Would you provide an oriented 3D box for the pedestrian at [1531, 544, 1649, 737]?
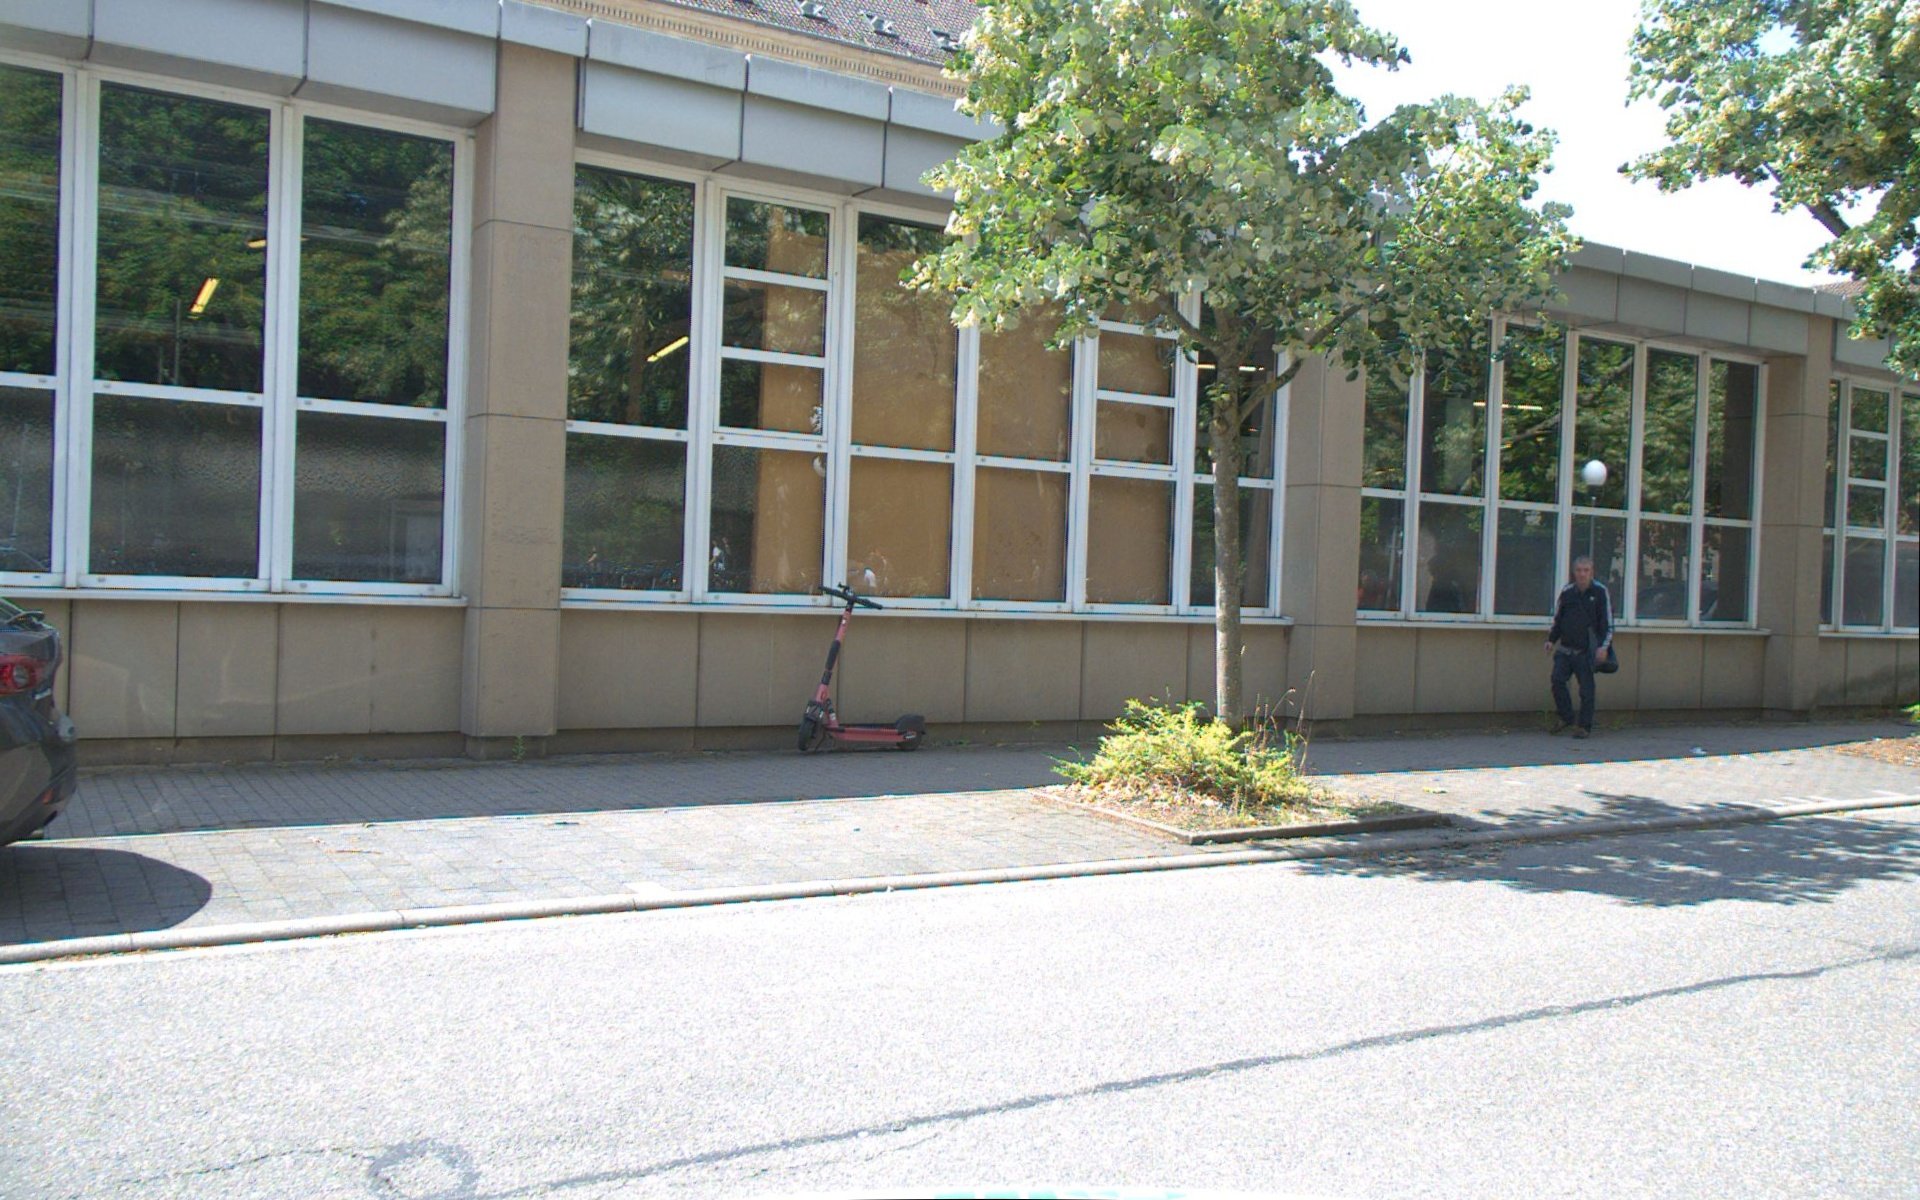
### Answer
[{"bbox_3d":[6.201,0.378,16.307,0.661,1.818,0.783,0,3,-31],"label":"pedestrian"}]

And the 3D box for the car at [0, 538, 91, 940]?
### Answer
[{"bbox_3d":[-5.571,0.493,5.925,4.236,1.460,1.712,0,3,-33],"label":"car"}]

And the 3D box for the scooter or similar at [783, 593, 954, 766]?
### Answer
[{"bbox_3d":[-0.680,0.578,12.461,1.230,1.228,0.379,0,3,-34],"label":"scooter or similar"}]
